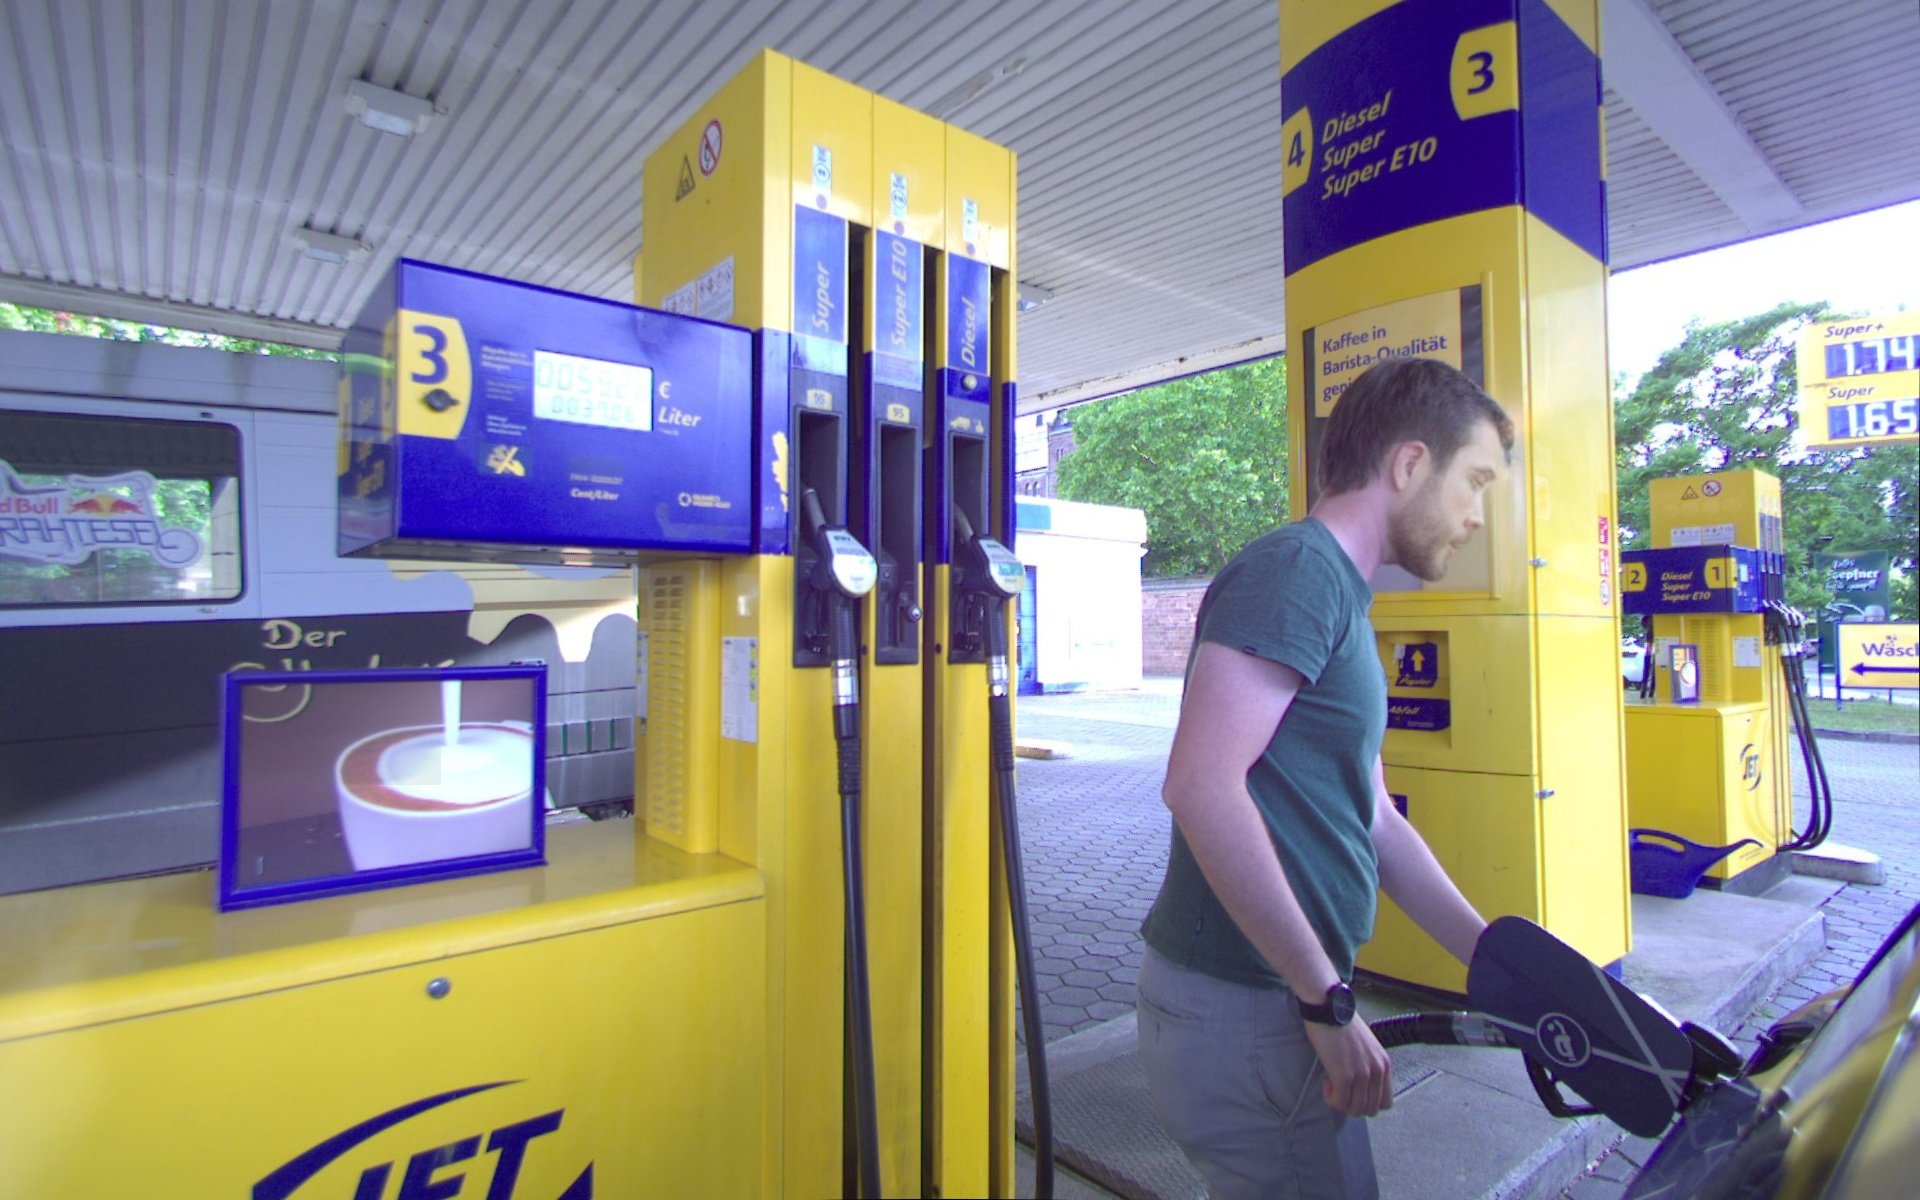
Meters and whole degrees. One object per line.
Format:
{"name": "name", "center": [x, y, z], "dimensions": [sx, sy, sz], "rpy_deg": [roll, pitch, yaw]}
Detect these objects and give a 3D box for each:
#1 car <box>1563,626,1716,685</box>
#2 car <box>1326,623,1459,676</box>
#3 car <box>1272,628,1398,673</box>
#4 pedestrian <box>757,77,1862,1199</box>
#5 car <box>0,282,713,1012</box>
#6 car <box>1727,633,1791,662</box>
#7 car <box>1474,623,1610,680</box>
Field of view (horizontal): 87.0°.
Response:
{"name": "car", "center": [18.245, 1.482, 27.141], "dimensions": [4.112, 1.478, 1.826], "rpy_deg": [2, -3, -31]}
{"name": "car", "center": [13.772, 1.564, 32.176], "dimensions": [4.112, 1.606, 1.826], "rpy_deg": [2, -3, -31]}
{"name": "car", "center": [12.633, 1.695, 34.039], "dimensions": [4.112, 1.453, 1.826], "rpy_deg": [2, -3, -31]}
{"name": "pedestrian", "center": [0.481, 0.512, 1.429], "dimensions": [1.161, 1.750, 0.993], "rpy_deg": [-2, 1, -38]}
{"name": "car", "center": [-4.107, 0.185, 4.862], "dimensions": [5.248, 2.760, 2.201], "rpy_deg": [0, -1, -39]}
{"name": "car", "center": [47.270, 2.781, 59.969], "dimensions": [1.844, 1.528, 4.784], "rpy_deg": [-3, -2, 25]}
{"name": "car", "center": [17.761, 1.574, 30.857], "dimensions": [4.112, 1.606, 1.826], "rpy_deg": [2, -3, -31]}
